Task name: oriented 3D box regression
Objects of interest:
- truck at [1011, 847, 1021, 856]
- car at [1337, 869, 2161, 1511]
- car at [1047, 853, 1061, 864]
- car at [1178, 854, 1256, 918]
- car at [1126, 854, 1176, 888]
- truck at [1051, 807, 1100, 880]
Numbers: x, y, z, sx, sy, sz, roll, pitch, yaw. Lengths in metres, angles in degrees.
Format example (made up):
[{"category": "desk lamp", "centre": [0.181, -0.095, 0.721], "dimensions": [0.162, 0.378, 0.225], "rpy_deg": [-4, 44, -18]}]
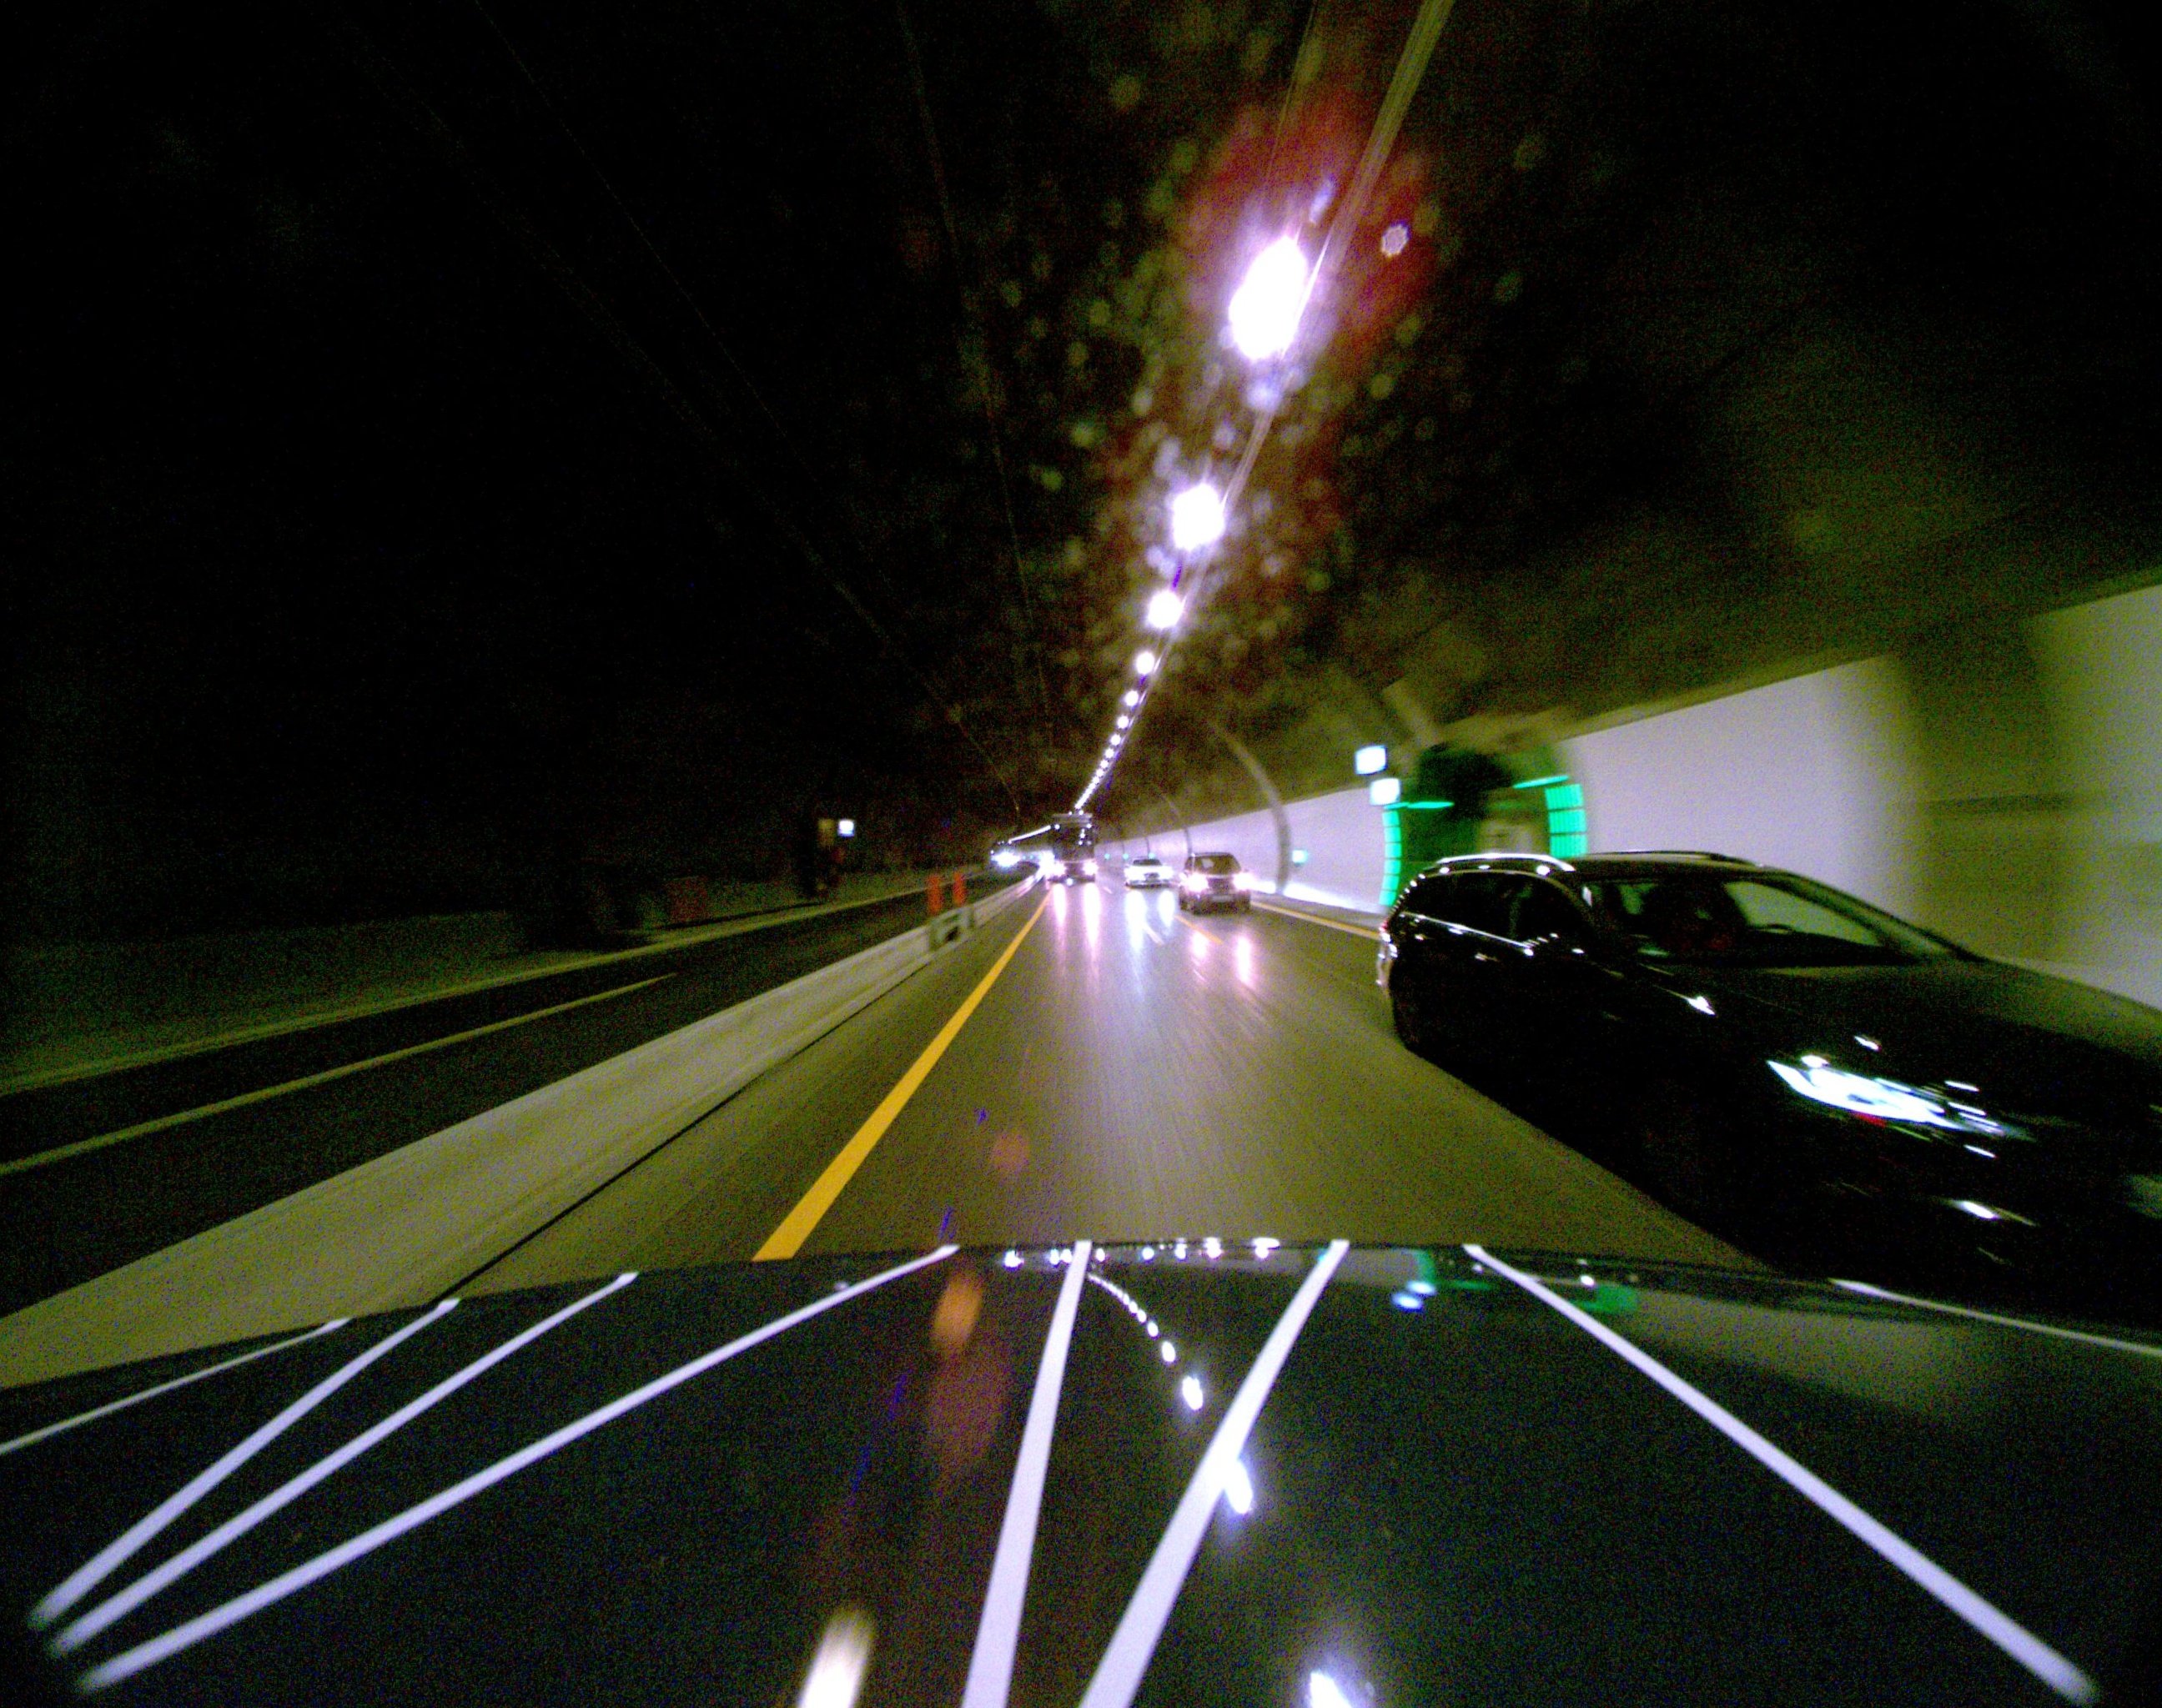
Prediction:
[{"category": "truck", "centre": [-20.328, -0.634, 237.920], "dimensions": [2.611, 2.723, 6.393], "rpy_deg": [-2, 0, -8]}, {"category": "car", "centre": [3.204, 0.878, 4.322], "dimensions": [1.782, 1.430, 4.882], "rpy_deg": [-2, 0, 0]}, {"category": "car", "centre": [-4.027, 0.596, 113.069], "dimensions": [1.999, 1.524, 3.998], "rpy_deg": [-2, 0, -4]}, {"category": "car", "centre": [3.465, 0.786, 19.740], "dimensions": [1.531, 1.508, 2.651], "rpy_deg": [-1, 0, 0]}, {"category": "car", "centre": [3.232, 0.754, 35.763], "dimensions": [1.909, 1.412, 4.060], "rpy_deg": [-1, 0, -1]}, {"category": "truck", "centre": [-0.325, -0.620, 48.176], "dimensions": [2.742, 4.127, 8.100], "rpy_deg": [-1, 0, 0]}]
